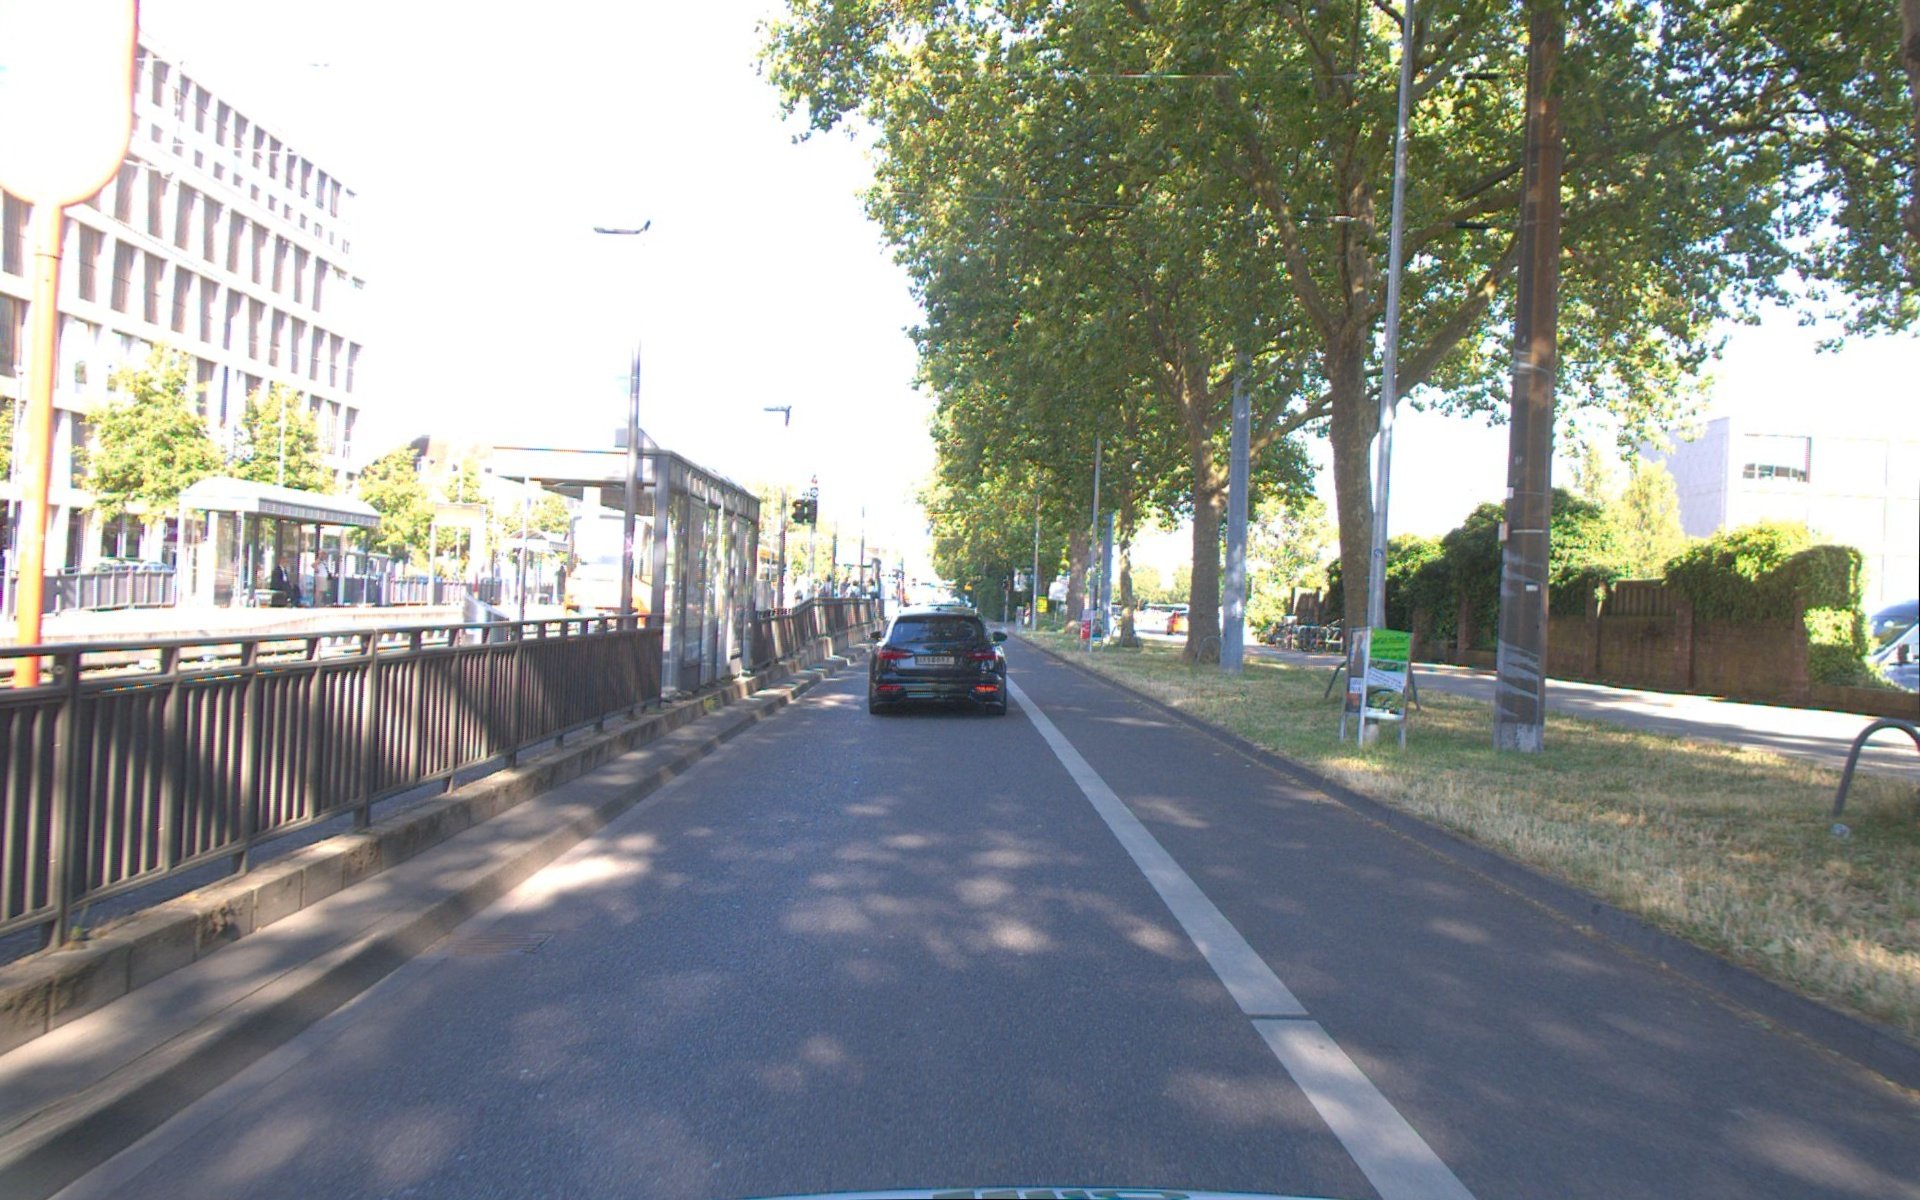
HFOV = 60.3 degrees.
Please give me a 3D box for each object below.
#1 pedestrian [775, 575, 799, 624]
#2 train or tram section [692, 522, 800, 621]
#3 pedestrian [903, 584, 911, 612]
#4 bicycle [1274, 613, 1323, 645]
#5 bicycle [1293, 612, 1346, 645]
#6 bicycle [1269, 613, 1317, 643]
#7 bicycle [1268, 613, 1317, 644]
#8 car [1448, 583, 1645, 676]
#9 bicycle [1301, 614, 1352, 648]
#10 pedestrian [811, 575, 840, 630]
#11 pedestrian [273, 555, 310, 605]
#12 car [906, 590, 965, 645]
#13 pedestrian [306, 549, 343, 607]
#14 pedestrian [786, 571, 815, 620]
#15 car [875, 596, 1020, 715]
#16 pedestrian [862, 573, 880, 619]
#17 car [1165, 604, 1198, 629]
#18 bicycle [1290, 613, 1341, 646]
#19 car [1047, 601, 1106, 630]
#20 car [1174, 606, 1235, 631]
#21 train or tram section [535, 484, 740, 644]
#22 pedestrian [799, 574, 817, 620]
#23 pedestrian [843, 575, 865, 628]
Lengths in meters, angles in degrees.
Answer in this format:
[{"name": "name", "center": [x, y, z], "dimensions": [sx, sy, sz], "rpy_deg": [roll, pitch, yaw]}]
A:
[{"name": "pedestrian", "center": [-6.659, -0.018, 63.610], "dimensions": [0.777, 1.815, 0.625], "rpy_deg": [2, 0, 0]}, {"name": "train or tram section", "center": [-9.346, -1.171, 73.652], "dimensions": [3.242, 3.896, 11.841], "rpy_deg": [3, 0, -1]}, {"name": "pedestrian", "center": [-3.335, -0.114, 103.629], "dimensions": [0.403, 1.746, 0.665], "rpy_deg": [2, 0, -1]}, {"name": "bicycle", "center": [12.564, 1.079, 61.387], "dimensions": [1.737, 1.140, 0.439], "rpy_deg": [1, 0, -2]}, {"name": "bicycle", "center": [12.666, 1.009, 58.306], "dimensions": [1.737, 1.140, 0.439], "rpy_deg": [1, 0, -2]}, {"name": "bicycle", "center": [12.778, 1.071, 63.522], "dimensions": [1.737, 1.140, 0.439], "rpy_deg": [1, 0, -2]}, {"name": "bicycle", "center": [12.564, 1.072, 62.474], "dimensions": [1.737, 1.140, 0.439], "rpy_deg": [1, 0, -2]}, {"name": "car", "center": [18.321, 0.911, 51.831], "dimensions": [5.350, 2.533, 2.000], "rpy_deg": [3, 0, -1]}, {"name": "bicycle", "center": [12.671, 1.079, 57.239], "dimensions": [1.653, 1.140, 0.439], "rpy_deg": [1, 0, -2]}, {"name": "pedestrian", "center": [-3.939, 0.063, 48.451], "dimensions": [0.601, 1.576, 0.725], "rpy_deg": [2, 0, 10]}, {"name": "pedestrian", "center": [-17.299, -0.513, 42.805], "dimensions": [0.601, 1.282, 0.725], "rpy_deg": [2, 0, 3]}, {"name": "car", "center": [-0.832, 0.546, 53.485], "dimensions": [1.727, 1.647, 3.998], "rpy_deg": [2, 0, -3]}, {"name": "pedestrian", "center": [-17.440, -0.611, 45.388], "dimensions": [0.601, 1.554, 0.725], "rpy_deg": [2, 0, 8]}, {"name": "pedestrian", "center": [-6.069, -0.155, 62.941], "dimensions": [0.788, 1.815, 0.639], "rpy_deg": [3, 0, -41]}, {"name": "car", "center": [-0.237, 0.712, 22.802], "dimensions": [1.840, 1.482, 3.355], "rpy_deg": [1, 0, -3]}, {"name": "pedestrian", "center": [-3.573, -0.172, 66.587], "dimensions": [0.599, 1.815, 0.613], "rpy_deg": [2, 0, 0]}, {"name": "car", "center": [14.254, 1.061, 106.538], "dimensions": [1.581, 1.542, 3.803], "rpy_deg": [2, 0, 0]}, {"name": "bicycle", "center": [12.738, 1.071, 59.257], "dimensions": [1.737, 1.140, 0.439], "rpy_deg": [1, 0, -2]}, {"name": "car", "center": [8.074, 1.087, 115.134], "dimensions": [3.905, 1.795, 1.833], "rpy_deg": [2, 0, 0]}, {"name": "car", "center": [18.281, 1.354, 123.724], "dimensions": [4.365, 1.687, 1.918], "rpy_deg": [3, 0, 4]}, {"name": "train or tram section", "center": [-9.078, -0.909, 48.780], "dimensions": [3.242, 3.896, 14.217], "rpy_deg": [3, 0, -1]}, {"name": "pedestrian", "center": [-6.063, -0.108, 65.991], "dimensions": [0.599, 1.815, 0.775], "rpy_deg": [2, 0, 0]}, {"name": "pedestrian", "center": [-3.485, 0.051, 54.232], "dimensions": [0.599, 1.698, 0.613], "rpy_deg": [2, 0, 1]}]
